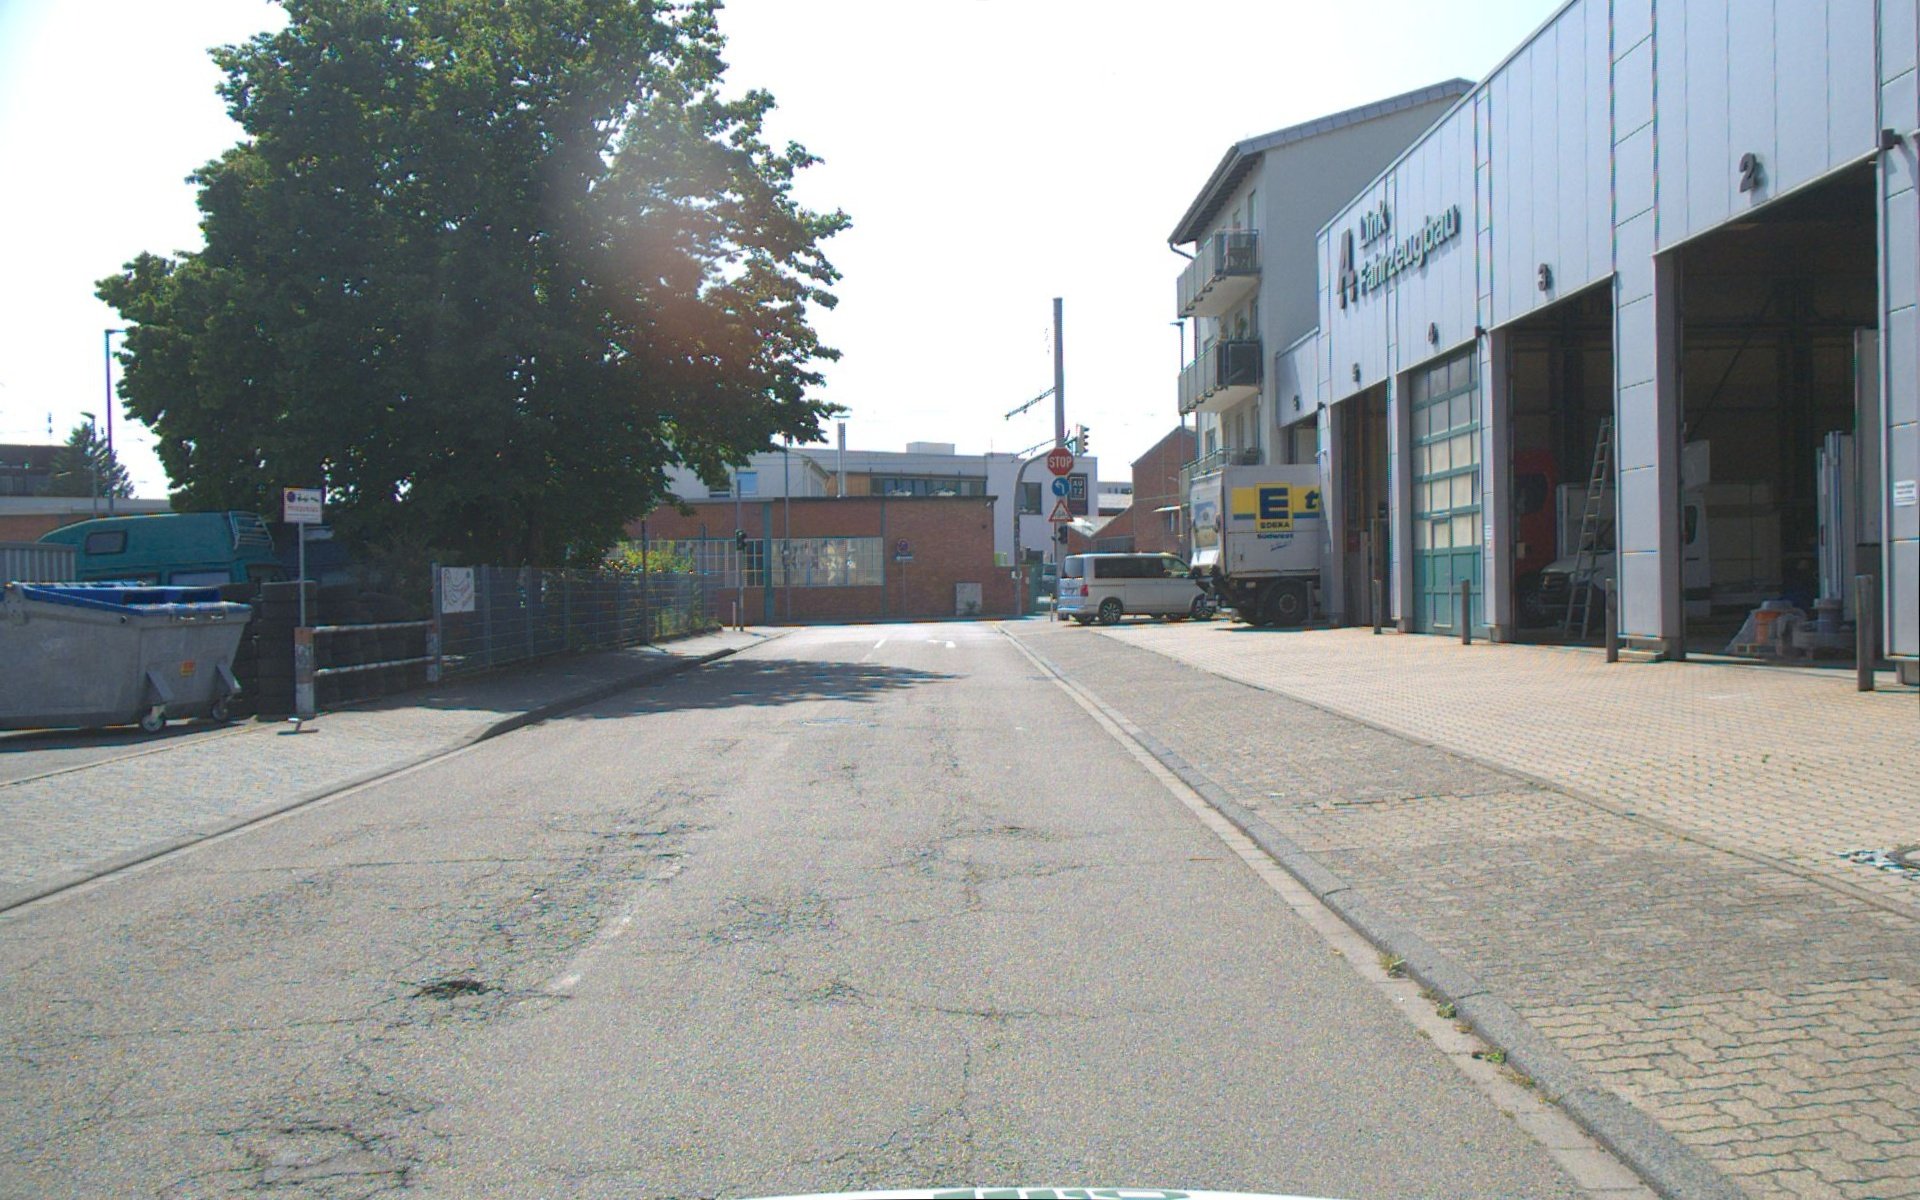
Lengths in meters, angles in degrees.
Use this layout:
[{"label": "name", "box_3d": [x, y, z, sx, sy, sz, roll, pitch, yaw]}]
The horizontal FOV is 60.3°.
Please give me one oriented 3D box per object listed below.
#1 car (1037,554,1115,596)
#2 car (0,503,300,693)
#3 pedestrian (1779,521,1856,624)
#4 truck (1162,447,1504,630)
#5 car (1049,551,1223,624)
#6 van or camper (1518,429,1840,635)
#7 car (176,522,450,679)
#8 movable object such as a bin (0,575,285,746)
[{"label": "car", "box_3d": [6.483, -1.399, 92.484, 3.950, 2.228, 1.977, -1, 1, -33]}, {"label": "car", "box_3d": [-11.842, -0.035, 23.712, 4.004, 2.557, 1.776, -1, 0, -3]}, {"label": "pedestrian", "box_3d": [14.071, -0.455, 27.156, 0.795, 1.649, 0.865, -1, 0, -2]}, {"label": "truck", "box_3d": [8.732, -1.431, 39.102, 7.220, 3.708, 2.764, -4, 1, -7]}, {"label": "car", "box_3d": [5.047, -0.368, 47.430, 4.585, 1.992, 1.905, -1, 0, -20]}, {"label": "van or camper", "box_3d": [12.265, -1.149, 28.383, 4.662, 3.346, 1.998, -1, 0, -4]}, {"label": "car", "box_3d": [-11.089, -0.010, 28.557, 4.004, 2.557, 1.776, -1, 0, -3]}, {"label": "movable object such as a bin", "box_3d": [-8.719, 0.560, 16.625, 2.571, 1.536, 2.730, -2, 1, 5]}]
